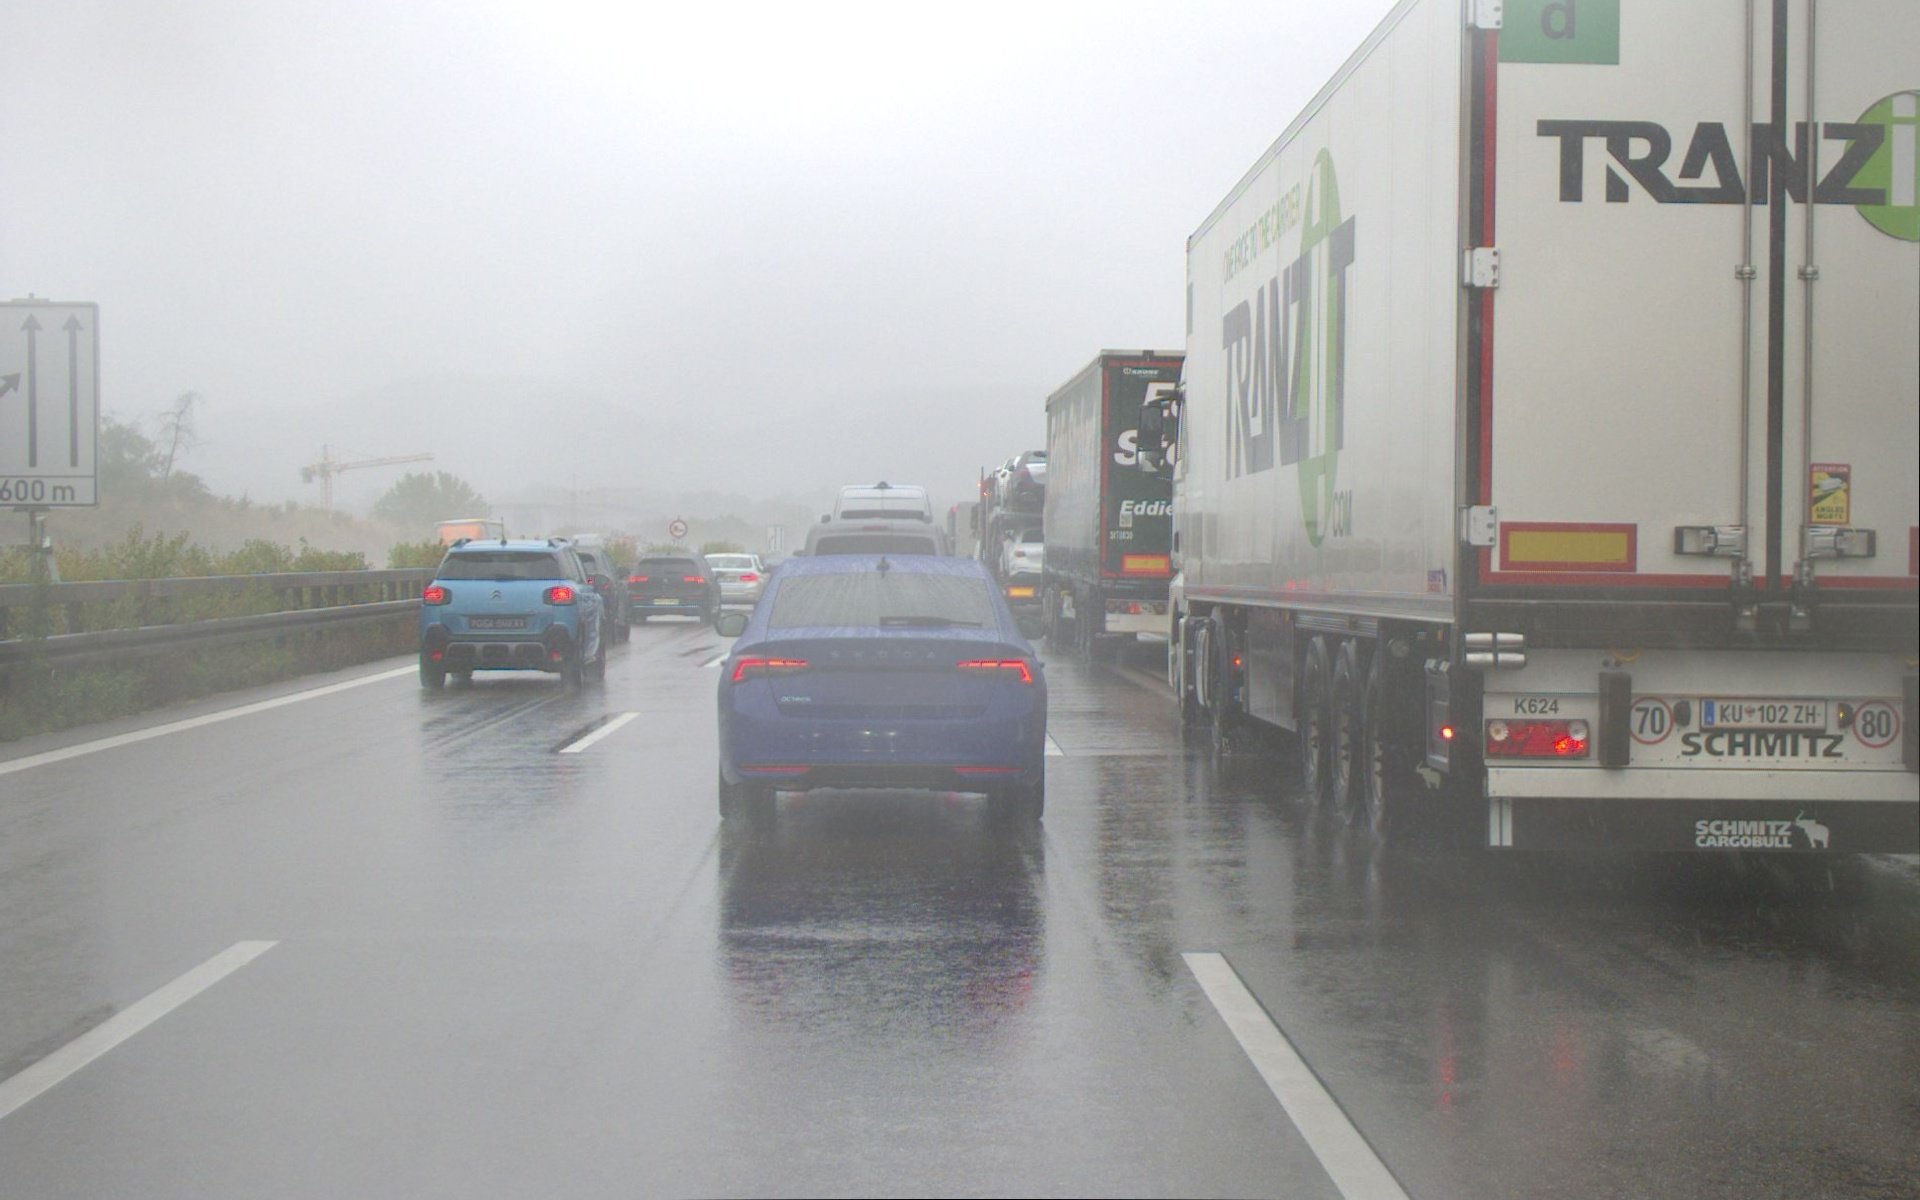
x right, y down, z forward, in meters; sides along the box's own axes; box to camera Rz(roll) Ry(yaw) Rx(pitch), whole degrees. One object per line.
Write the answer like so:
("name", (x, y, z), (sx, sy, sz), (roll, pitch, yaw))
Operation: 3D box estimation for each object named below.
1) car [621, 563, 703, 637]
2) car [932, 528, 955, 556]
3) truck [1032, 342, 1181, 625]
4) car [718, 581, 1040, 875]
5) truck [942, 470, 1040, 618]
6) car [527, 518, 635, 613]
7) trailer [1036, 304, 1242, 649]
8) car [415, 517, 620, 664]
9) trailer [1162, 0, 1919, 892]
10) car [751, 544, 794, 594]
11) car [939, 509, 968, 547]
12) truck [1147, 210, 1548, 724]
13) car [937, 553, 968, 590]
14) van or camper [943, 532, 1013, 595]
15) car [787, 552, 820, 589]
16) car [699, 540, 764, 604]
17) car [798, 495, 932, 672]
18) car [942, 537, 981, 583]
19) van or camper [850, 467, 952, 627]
("car", (-6.045, -0.018, 69.970), (1.439, 1.415, 3.322), (0, 1, -1))
("car", (-1.075, -3.795, 224.925), (1.448, 1.777, 3.409), (1, 1, -1))
("truck", (2.209, -1.771, 52.945), (2.047, 4.178, 4.000), (0, 1, -1))
("car", (-0.417, 0.641, 19.454), (1.635, 1.440, 4.000), (0, 1, 0))
("truck", (0.684, -1.400, 83.251), (1.993, 3.410, 8.033), (0, 2, -2))
("car", (-5.905, -0.561, 53.856), (1.359, 1.426, 3.364), (0, 1, -1))
("trailer", (2.289, -1.621, 47.306), (2.047, 4.162, 11.449), (0, 1, -1))
("car", (-4.788, -0.131, 37.676), (1.721, 1.518, 4.000), (0, 1, 0))
("trailer", (3.120, -0.975, 21.273), (2.630, 3.999, 14.631), (0, 1, -1))
("car", (-6.880, -1.141, 126.299), (1.448, 1.777, 3.409), (1, 1, -1))
("car", (-0.321, -3.570, 170.473), (1.335, 1.883, 3.040), (-1, 1, -1))
("truck", (3.011, -1.038, 27.970), (2.630, 3.814, 4.792), (0, 1, -1))
("car", (-0.311, -1.224, 146.048), (1.248, 1.507, 3.108), (-1, 2, -1))
("van or camper", (0.464, -1.015, 93.635), (1.771, 1.619, 4.484), (0, 2, -1))
("car", (-7.518, -1.433, 165.431), (1.448, 1.777, 3.409), (1, 1, -1))
("car", (-5.697, -0.717, 85.910), (1.439, 1.528, 3.322), (0, 1, -1))
("car", (-0.978, -0.200, 36.069), (1.336, 1.773, 3.322), (0, 1, -1))
("car", (0.032, -1.565, 134.342), (1.448, 1.777, 3.409), (1, 1, -1))
("van or camper", (-1.079, -0.986, 62.939), (1.797, 2.797, 4.768), (0, 1, -1))
